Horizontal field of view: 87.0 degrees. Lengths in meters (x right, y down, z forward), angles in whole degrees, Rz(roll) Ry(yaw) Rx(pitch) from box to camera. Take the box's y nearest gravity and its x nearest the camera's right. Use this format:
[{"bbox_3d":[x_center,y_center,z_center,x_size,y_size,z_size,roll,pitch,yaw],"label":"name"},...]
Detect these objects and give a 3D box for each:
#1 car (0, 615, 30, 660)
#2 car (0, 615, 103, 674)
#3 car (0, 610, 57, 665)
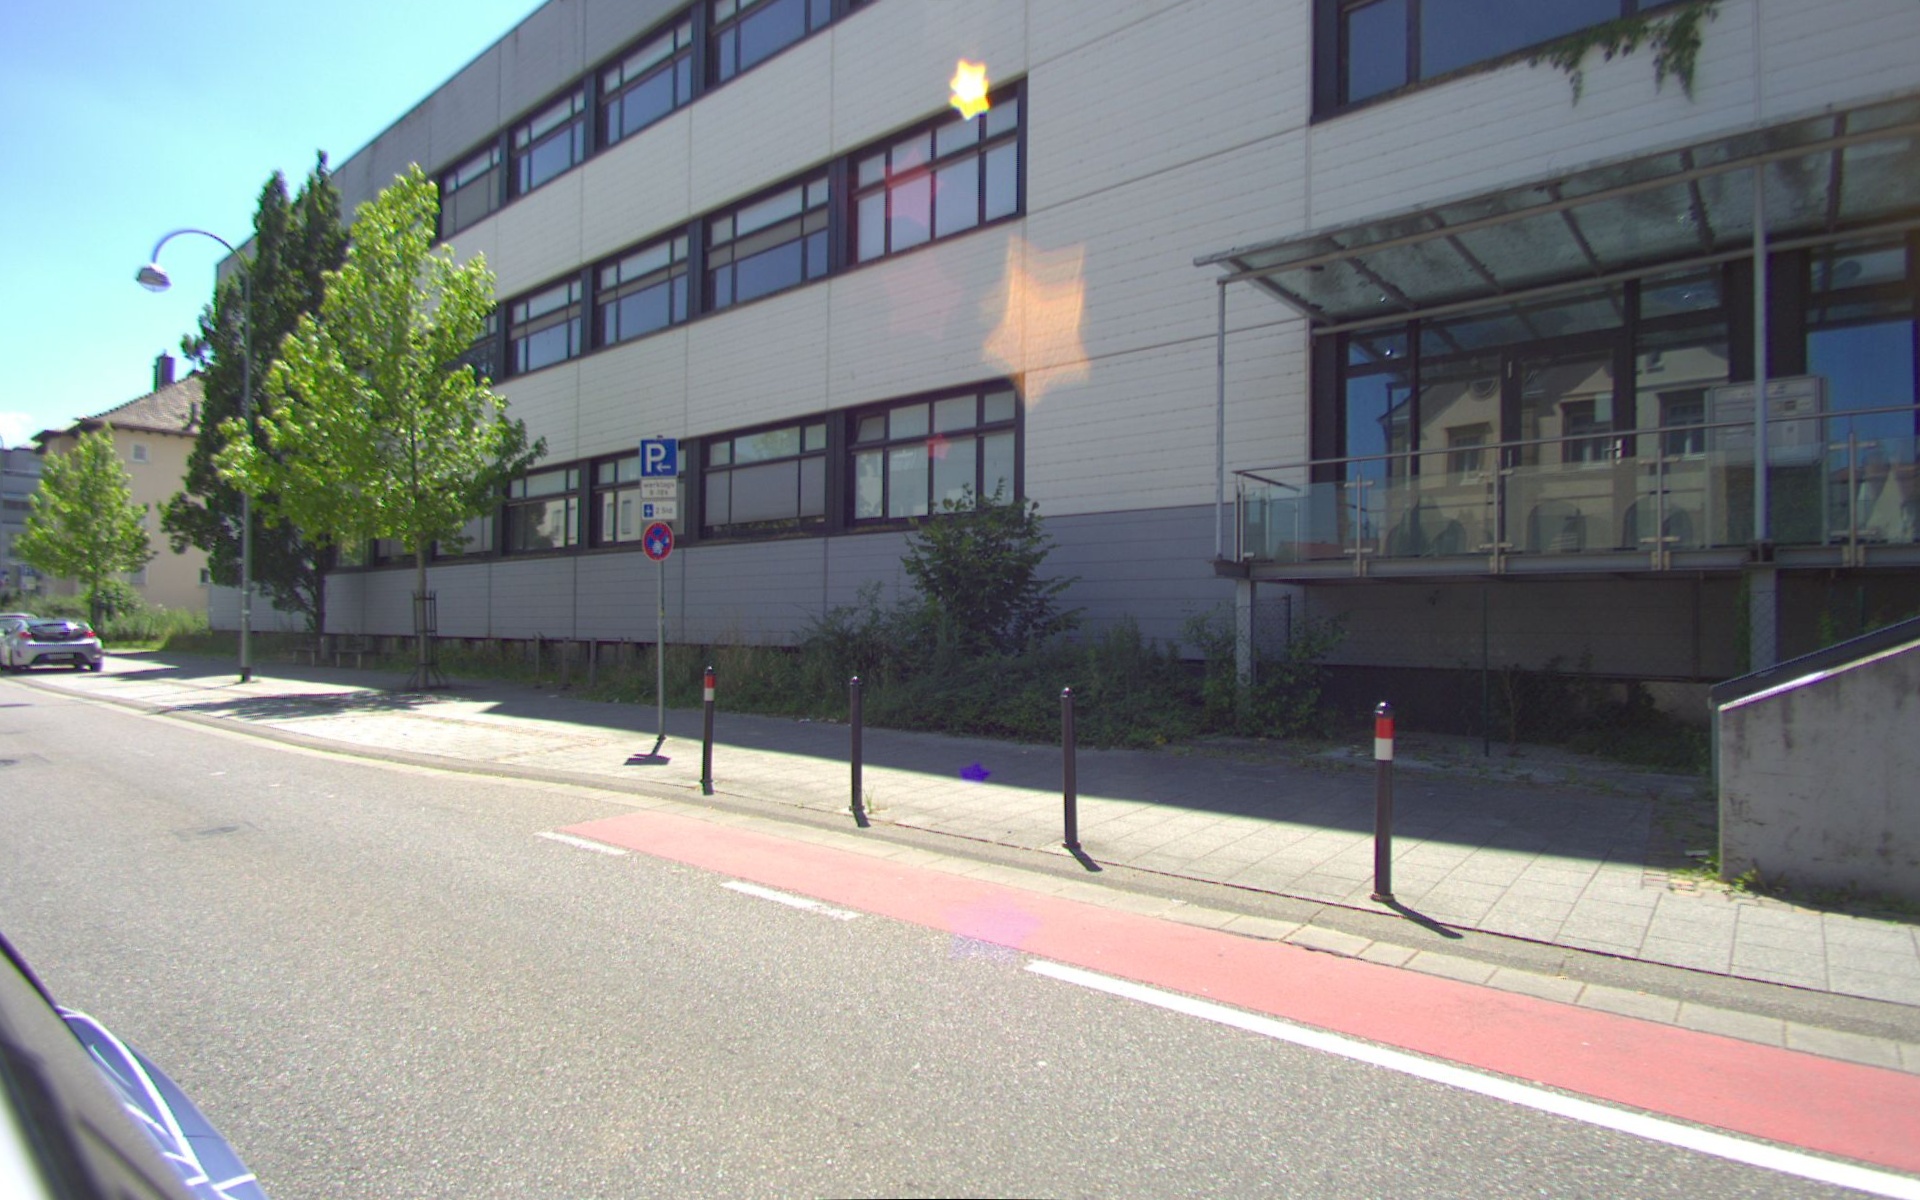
[{"bbox_3d":[-32.333,1.204,33.429,4.573,1.422,1.804,-1,-1,40],"label":"car"},{"bbox_3d":[-23.933,1.109,26.484,3.931,1.420,1.730,-1,-1,41],"label":"car"},{"bbox_3d":[-28.250,1.076,29.857,4.286,1.523,1.804,-1,0,40],"label":"car"}]
